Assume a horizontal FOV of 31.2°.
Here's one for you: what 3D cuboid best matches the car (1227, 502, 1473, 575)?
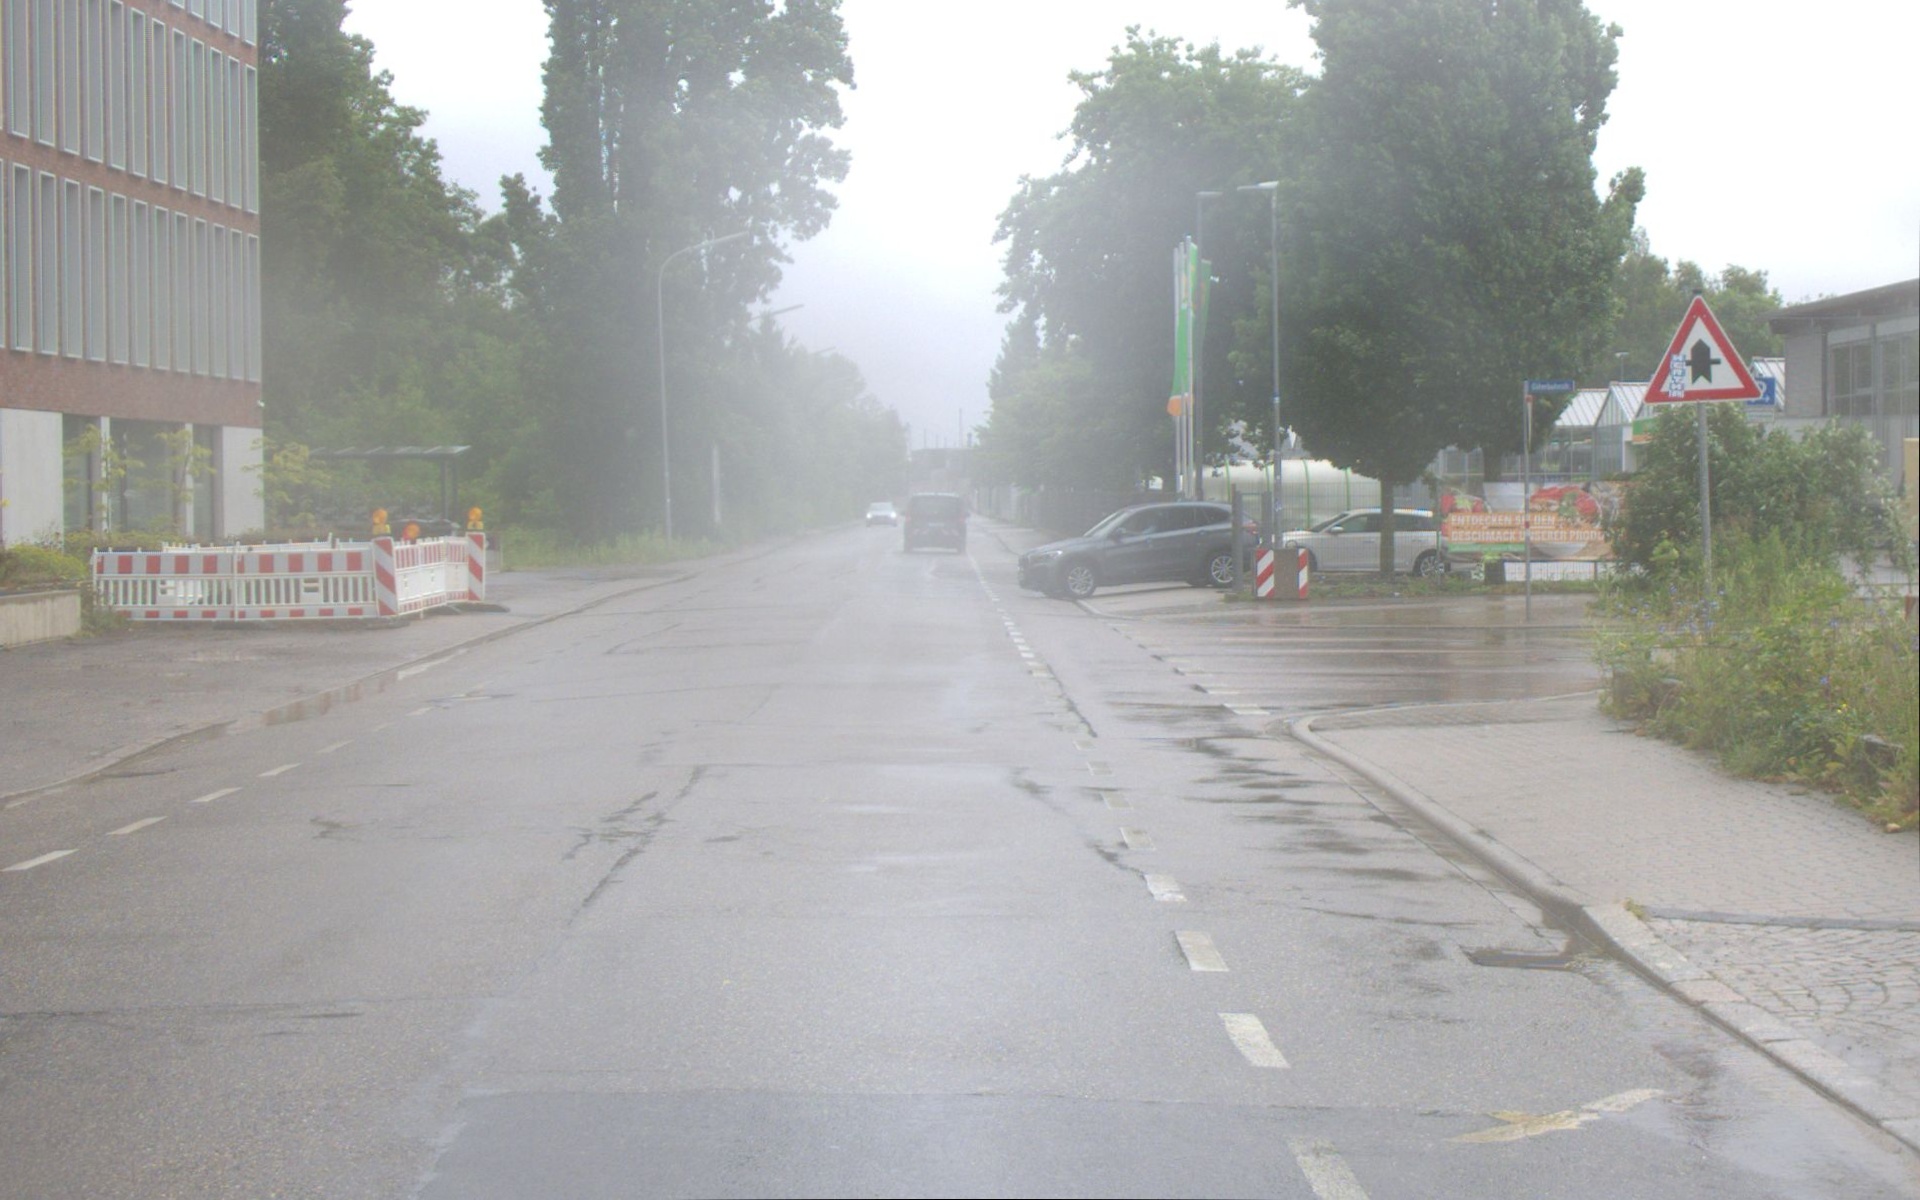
[{"bbox_3d":[7.823,-1.249,69.254,4.703,1.457,1.891,0,2,-1],"label":"car"}]

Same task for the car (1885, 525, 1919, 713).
[{"bbox_3d":[9.276,0.031,25.465,4.216,1.395,1.891,-3,1,-8],"label":"car"}]

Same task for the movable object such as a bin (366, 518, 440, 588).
[{"bbox_3d":[-10.567,-0.898,65.242,1.295,1.304,1.449,-1,2,-6],"label":"movable object such as a bin"}]

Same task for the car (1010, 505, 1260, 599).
[{"bbox_3d":[3.118,-0.867,61.587,4.135,1.563,1.766,-1,1,-11],"label":"car"}]

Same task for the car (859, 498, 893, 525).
[{"bbox_3d":[-4.910,-5.180,201.703,1.733,1.445,4.381,-3,2,1],"label":"car"}]

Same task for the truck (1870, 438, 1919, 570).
[{"bbox_3d":[20.496,-1.998,69.954,2.301,2.650,7.416,-2,2,3],"label":"truck"}]

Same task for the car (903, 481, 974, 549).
[{"bbox_3d":[-0.646,-2.487,100.919,1.993,1.904,4.201,-1,1,-1],"label":"car"}]

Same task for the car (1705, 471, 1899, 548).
[{"bbox_3d":[21.027,-2.274,85.963,4.362,1.826,2.063,-1,2,2],"label":"car"}]
